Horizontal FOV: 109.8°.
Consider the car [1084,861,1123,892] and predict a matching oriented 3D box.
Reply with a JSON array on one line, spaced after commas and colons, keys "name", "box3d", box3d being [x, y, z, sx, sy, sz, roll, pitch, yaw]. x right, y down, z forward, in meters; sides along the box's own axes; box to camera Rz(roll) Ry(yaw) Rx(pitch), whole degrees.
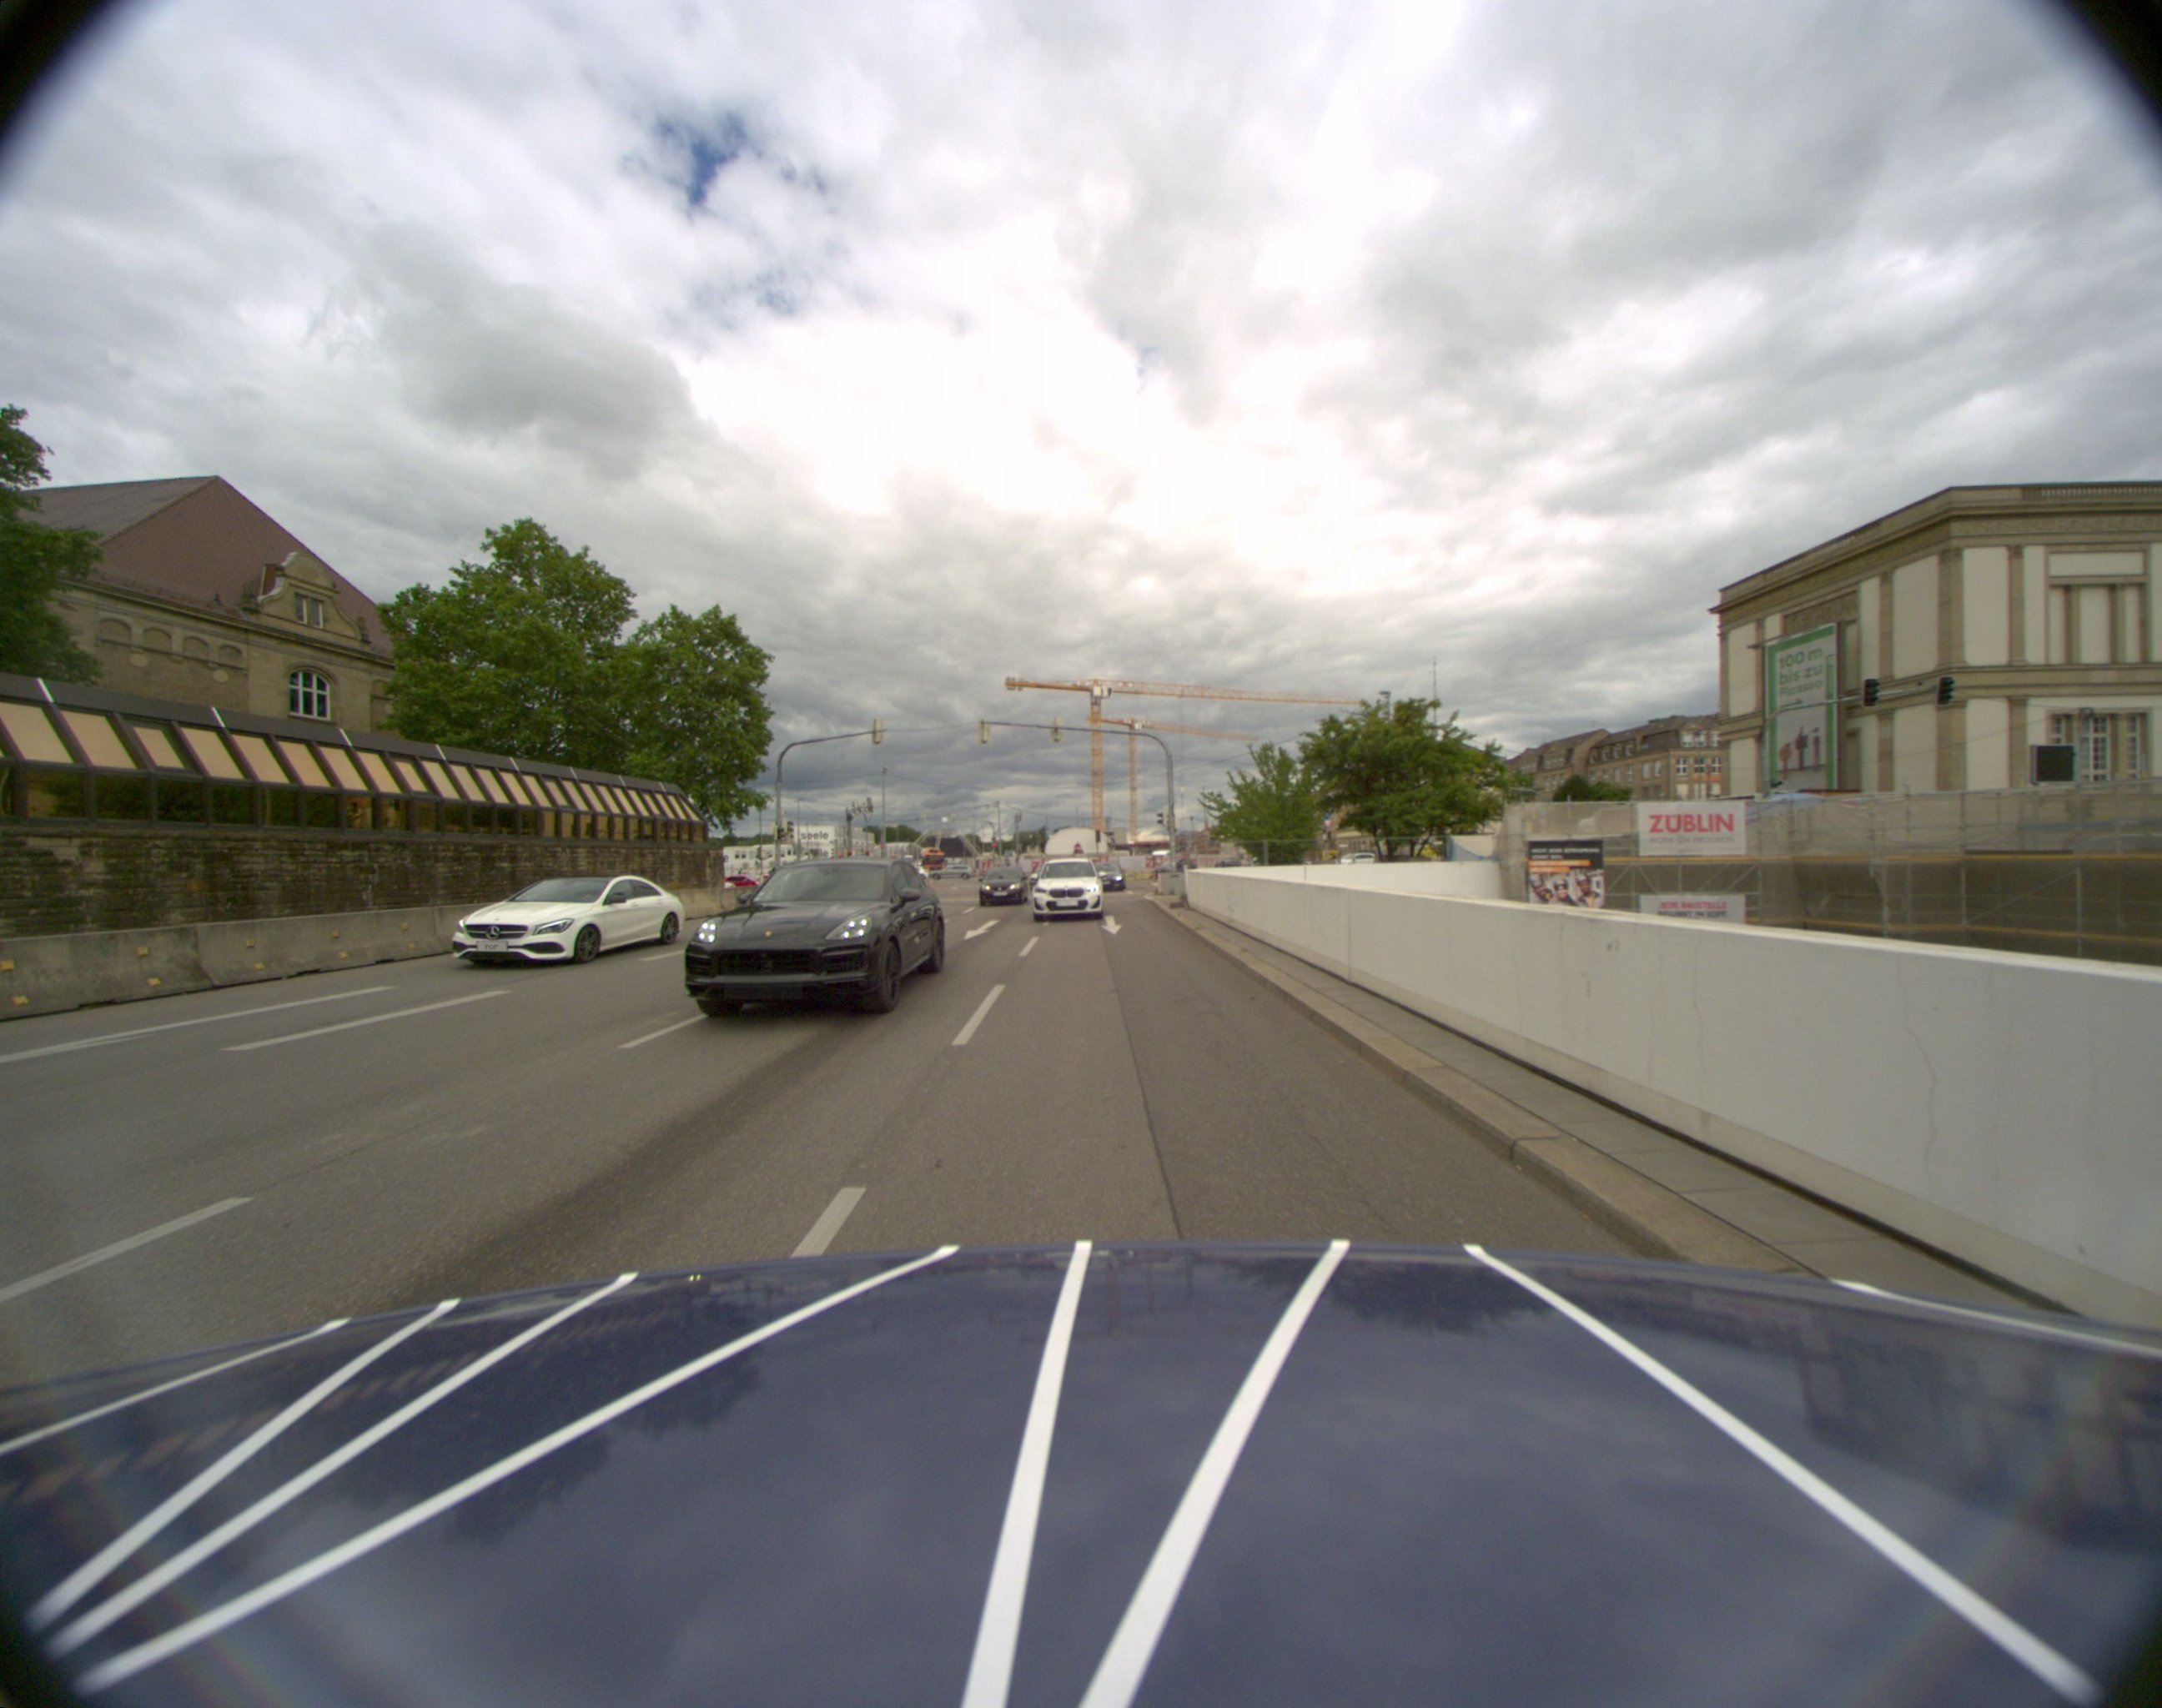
[{"name": "car", "box3d": [1.202, 1.112, 38.706, 1.852, 1.412, 4.106, -2, 0, 3]}]

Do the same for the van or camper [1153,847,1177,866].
[{"name": "van or camper", "box3d": [10.844, 0.337, 97.840, 1.995, 2.214, 4.005, -1, 2, 22]}]

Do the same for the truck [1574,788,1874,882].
[{"name": "truck", "box3d": [33.270, -0.788, 41.281, 2.924, 4.058, 16.617, 0, 0, 3]}]

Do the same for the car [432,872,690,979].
[{"name": "car", "box3d": [-8.863, 1.127, 13.500, 1.739, 1.427, 4.379, 1, 1, -3]}]

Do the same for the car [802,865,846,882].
[{"name": "car", "box3d": [-26.376, 1.969, 78.068, 3.954, 1.564, 1.692, -2, -2, -7]}]

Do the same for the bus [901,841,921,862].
[{"name": "bus", "box3d": [-27.179, -0.316, 121.741, 2.814, 3.150, 9.394, -1, -1, -11]}]

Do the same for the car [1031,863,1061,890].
[{"name": "car", "box3d": [-1.990, 1.223, 42.436, 1.577, 1.411, 3.569, 0, 0, -4]}]

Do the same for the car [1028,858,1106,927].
[{"name": "car", "box3d": [-0.287, 0.970, 20.672, 1.811, 1.595, 3.713, -2, 0, 3]}]

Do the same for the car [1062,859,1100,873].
[{"name": "car", "box3d": [-0.049, 1.312, 82.913, 4.069, 1.564, 1.693, 0, -1, -1]}]

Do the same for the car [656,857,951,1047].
[{"name": "car", "box3d": [-2.951, 0.917, 9.316, 1.956, 1.638, 4.607, 0, 1, -1]}]

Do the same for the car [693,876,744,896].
[{"name": "car", "box3d": [-31.123, 2.707, 65.270, 3.444, 1.427, 1.665, -3, 2, 2]}]

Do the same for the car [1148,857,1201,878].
[{"name": "car", "box3d": [7.236, 1.028, 58.543, 1.872, 1.412, 4.113, -2, 0, 43]}]

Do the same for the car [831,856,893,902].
[{"name": "car", "box3d": [-9.717, 1.075, 34.001, 1.938, 1.926, 3.672, 1, -1, -4]}]

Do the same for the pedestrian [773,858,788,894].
[{"name": "pedestrian", "box3d": [-16.889, 1.215, 42.655, 0.623, 2.002, 0.849, -3, 1, -26]}]

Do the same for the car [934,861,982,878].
[{"name": "car", "box3d": [-12.758, 1.576, 78.883, 4.681, 1.569, 1.910, -3, 0, -5]}]

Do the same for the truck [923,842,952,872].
[{"name": "truck", "box3d": [-18.835, 0.346, 99.424, 2.912, 3.653, 9.014, -1, 0, -16]}]

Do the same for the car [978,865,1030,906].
[{"name": "car", "box3d": [-2.963, 1.182, 30.034, 1.733, 1.461, 4.418, 0, 0, -1]}]

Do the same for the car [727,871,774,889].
[{"name": "car", "box3d": [-29.719, 2.301, 68.415, 3.443, 1.427, 1.691, -2, 1, 4]}]
